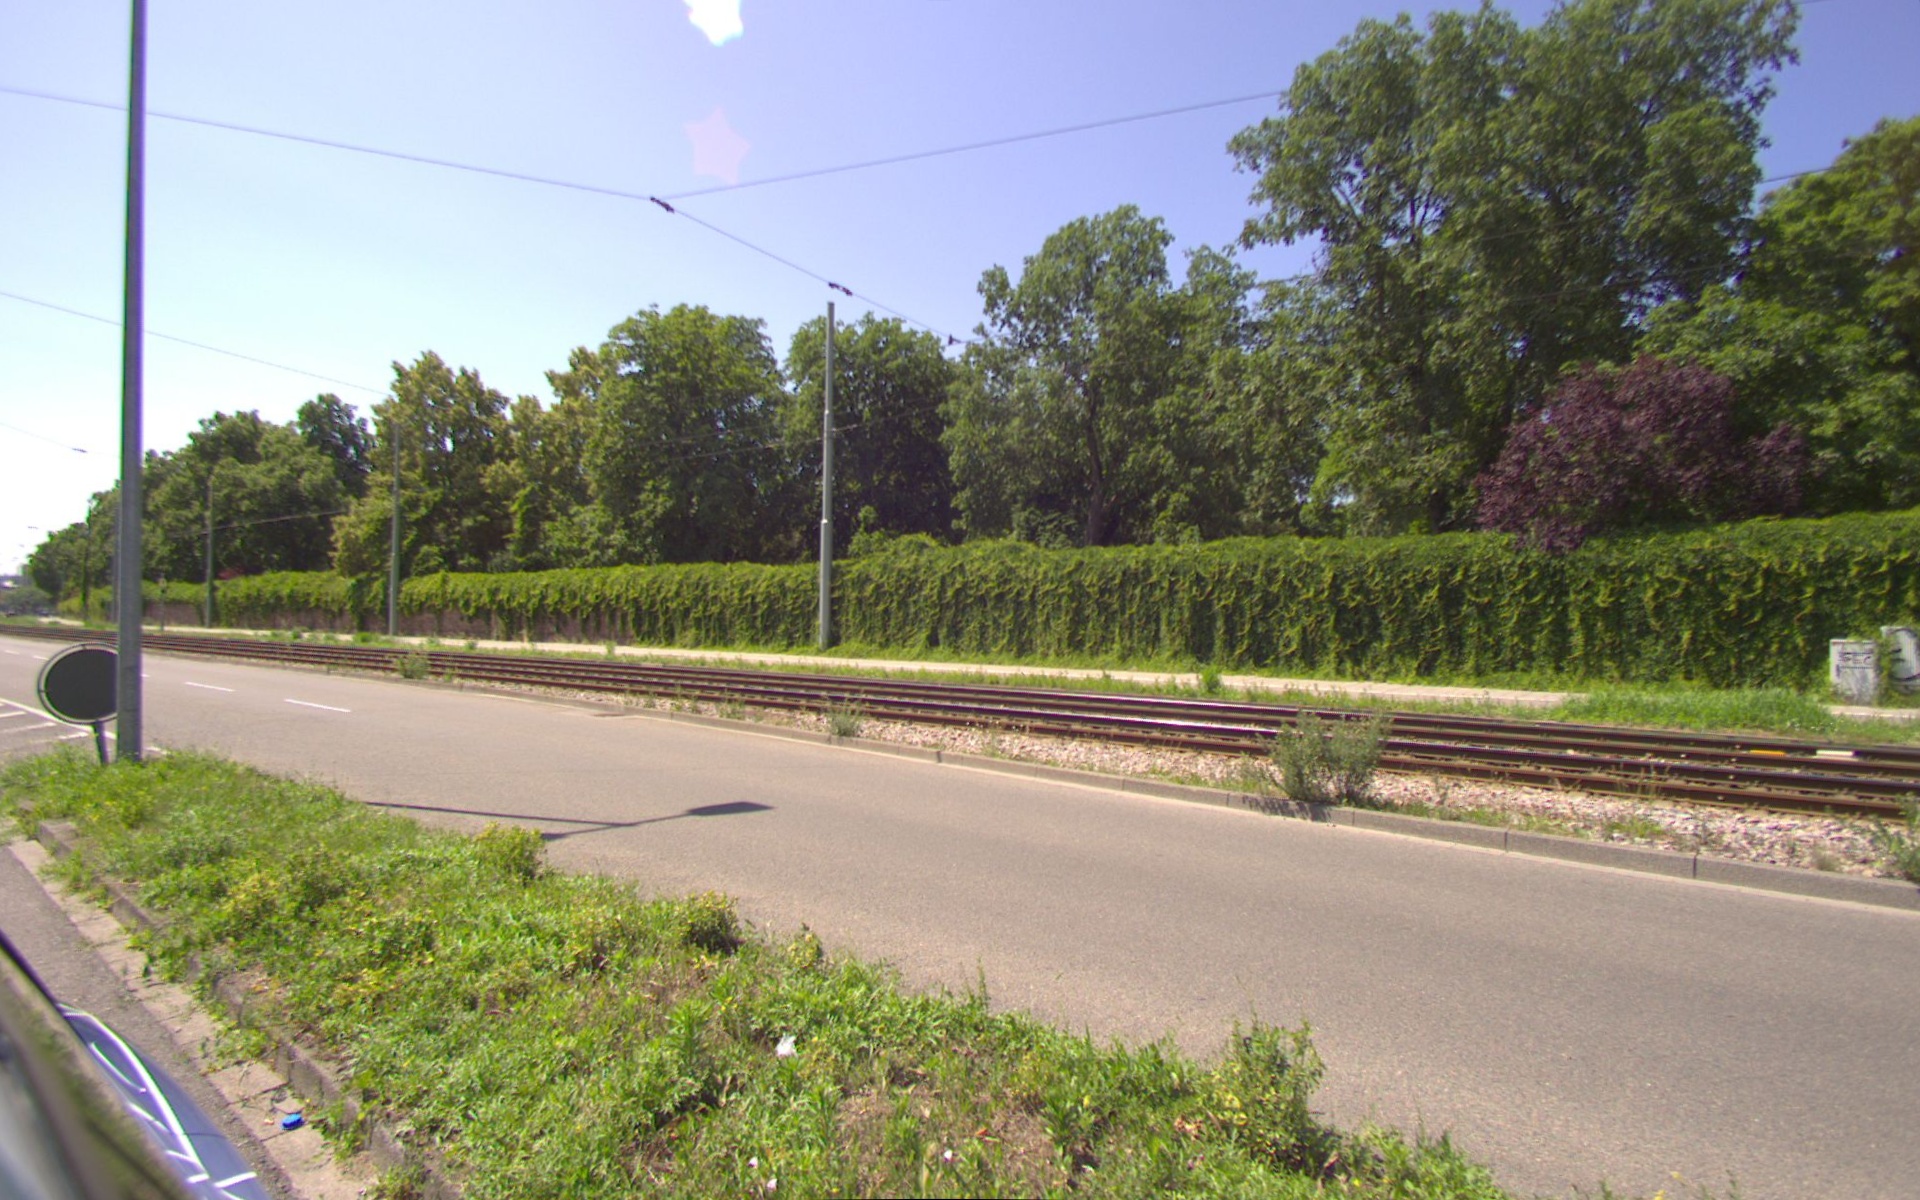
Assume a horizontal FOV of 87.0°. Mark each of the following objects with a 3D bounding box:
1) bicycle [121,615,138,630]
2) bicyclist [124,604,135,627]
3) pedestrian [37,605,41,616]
[{"bbox_3d":[-60.590,1.656,73.799,1.976,1.063,0.610,0,1,40],"label":"bicycle"},{"bbox_3d":[-60.512,1.136,73.730,0.768,1.624,0.477,0,0,40],"label":"bicyclist"},{"bbox_3d":[-144.884,1.679,159.206,0.302,1.677,0.447,-1,-1,40],"label":"pedestrian"}]
